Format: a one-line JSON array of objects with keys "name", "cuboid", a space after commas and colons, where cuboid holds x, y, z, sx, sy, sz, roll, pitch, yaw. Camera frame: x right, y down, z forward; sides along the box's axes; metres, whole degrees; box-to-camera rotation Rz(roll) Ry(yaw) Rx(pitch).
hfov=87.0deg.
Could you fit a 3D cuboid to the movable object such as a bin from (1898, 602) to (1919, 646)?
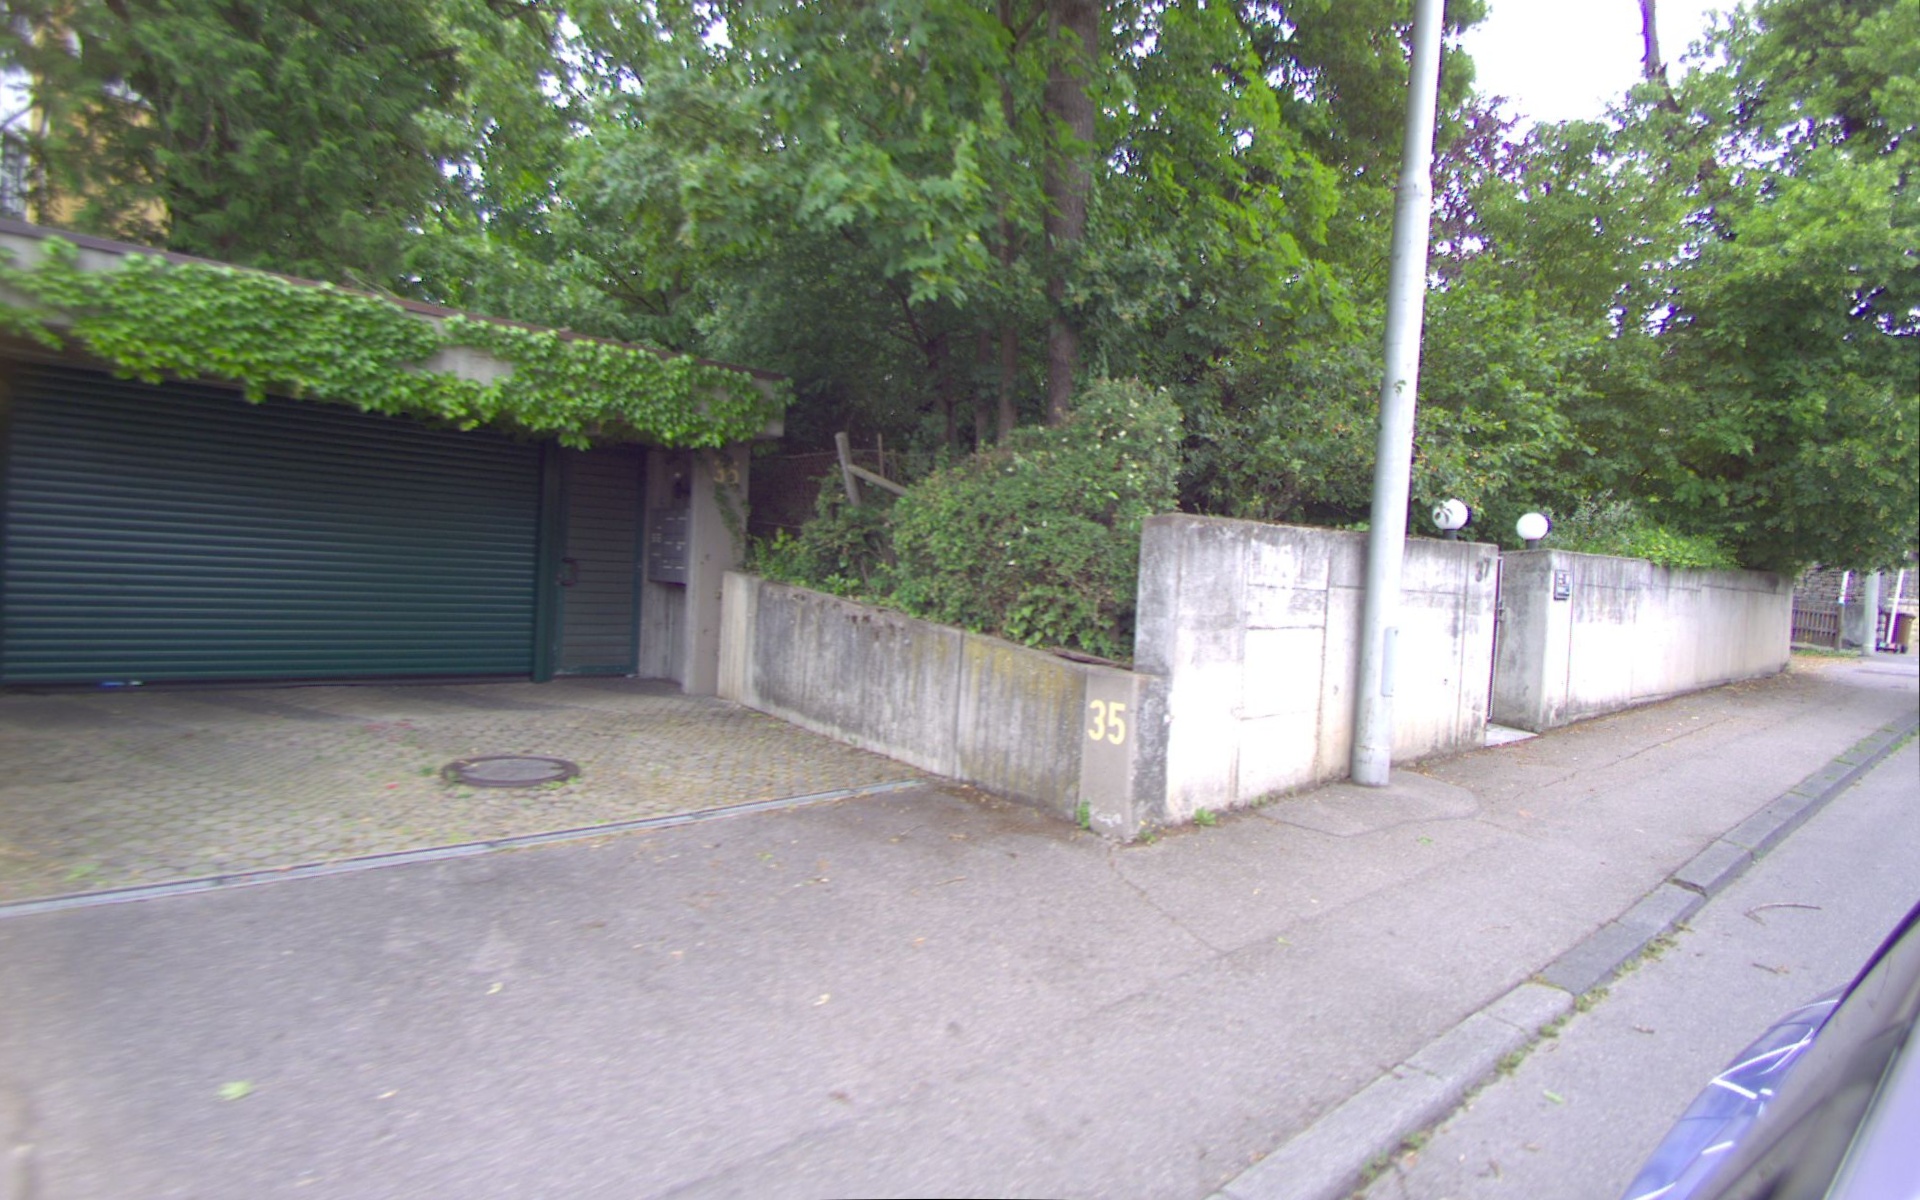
[{"name": "movable object such as a bin", "cuboid": [21.236, 0.544, 22.460, 0.386, 0.920, 0.447, 3, 3, -31]}]
